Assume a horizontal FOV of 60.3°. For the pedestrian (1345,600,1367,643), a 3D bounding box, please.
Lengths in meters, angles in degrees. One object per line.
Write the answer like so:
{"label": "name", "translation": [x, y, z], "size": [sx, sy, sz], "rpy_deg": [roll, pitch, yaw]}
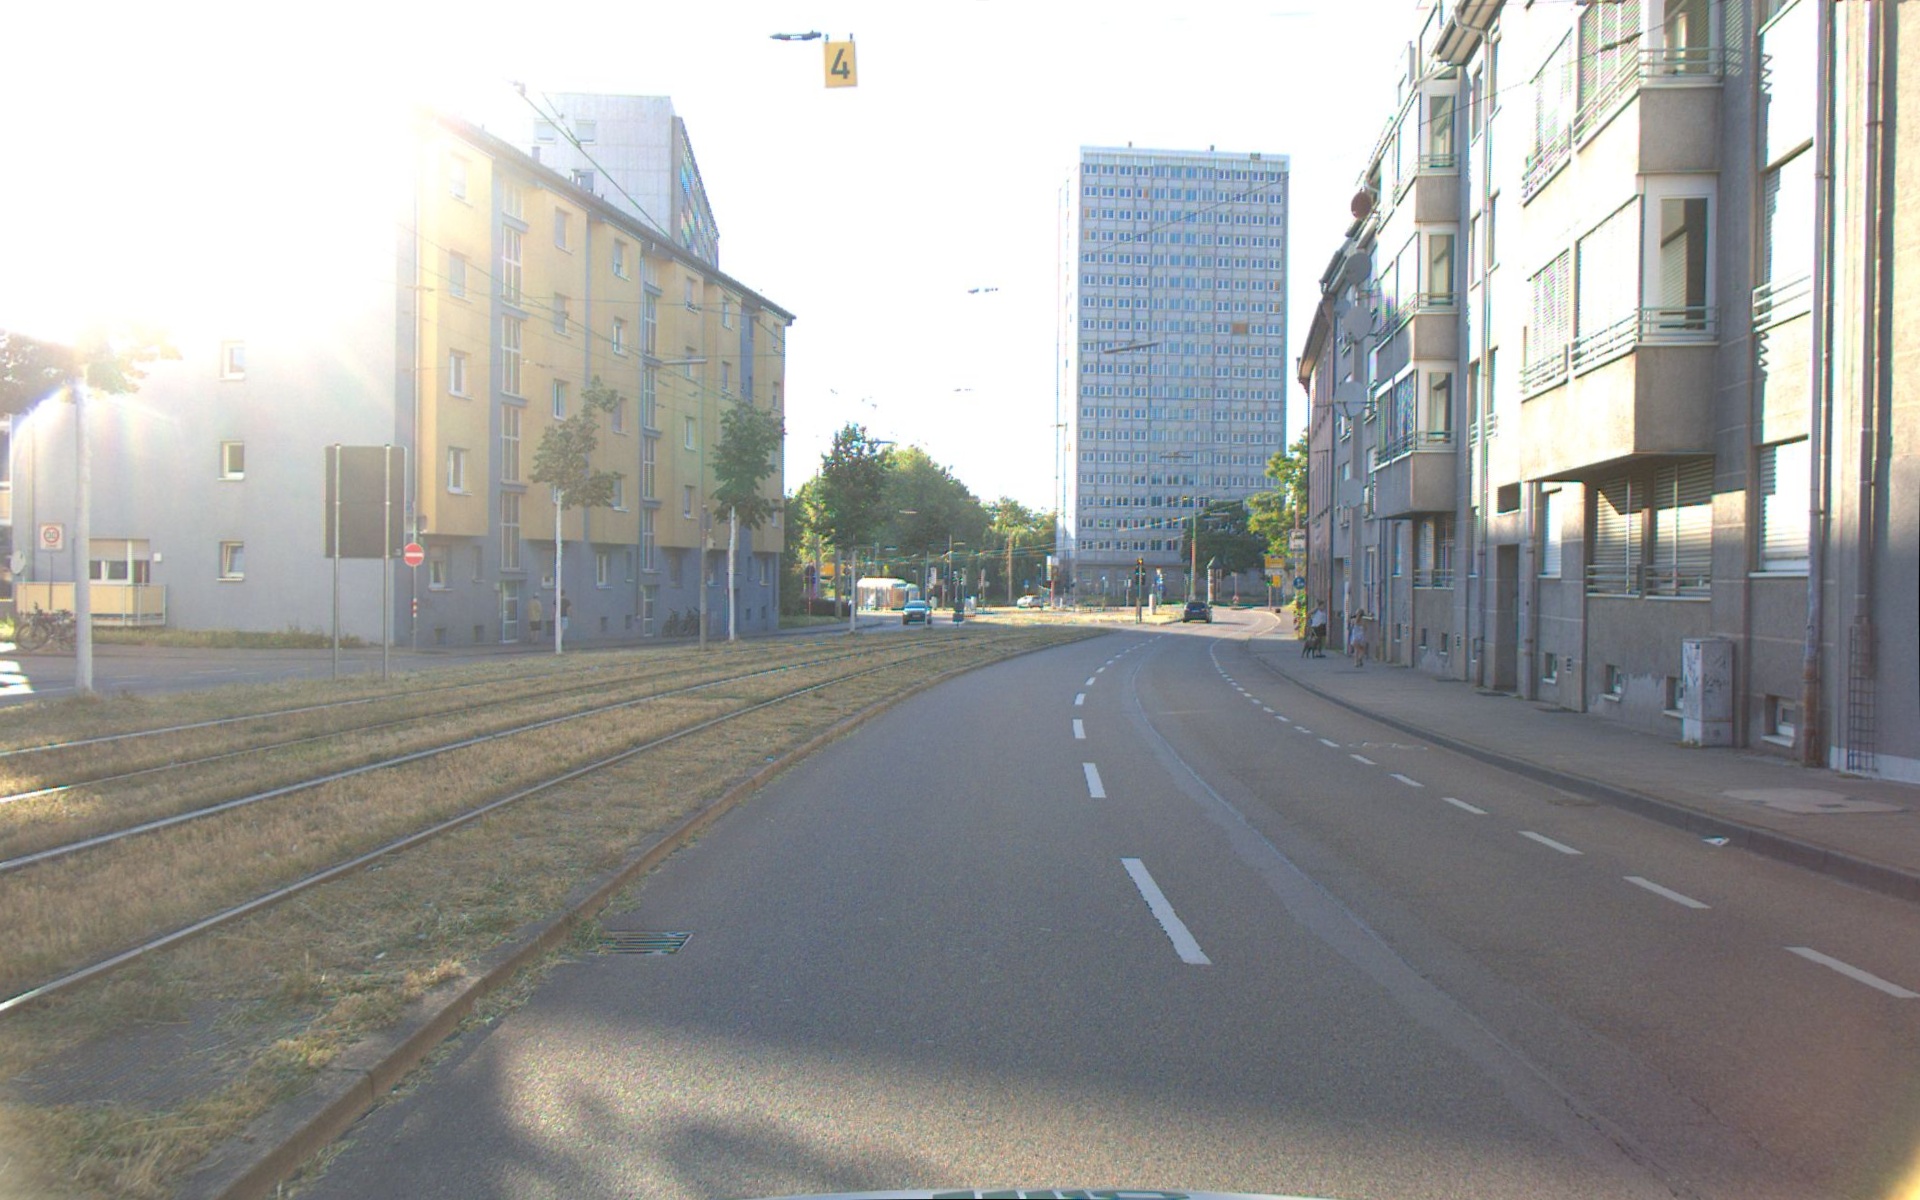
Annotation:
{"label": "pedestrian", "translation": [11.767, 0.632, 49.164], "size": [0.575, 1.273, 0.585], "rpy_deg": [0, 0, 8]}

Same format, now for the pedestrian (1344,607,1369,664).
{"label": "pedestrian", "translation": [9.656, 0.855, 40.294], "size": [0.503, 1.368, 0.609], "rpy_deg": [-1, -1, 4]}

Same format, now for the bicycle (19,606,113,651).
{"label": "bicycle", "translation": [-21.914, 0.696, 40.548], "size": [1.918, 1.094, 0.602], "rpy_deg": [0, 0, -9]}

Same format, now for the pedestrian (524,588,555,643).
{"label": "pedestrian", "translation": [-13.606, 0.507, 53.509], "size": [0.603, 1.723, 0.707], "rpy_deg": [5, 1, 8]}

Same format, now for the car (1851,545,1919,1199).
{"label": "car", "translation": [2.916, 0.729, 1.732], "size": [1.730, 1.615, 4.068], "rpy_deg": [0, 1, -1]}

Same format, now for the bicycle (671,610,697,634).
{"label": "bicycle", "translation": [-11.456, 0.916, 68.707], "size": [0.418, 0.941, 1.913], "rpy_deg": [4, 1, 10]}

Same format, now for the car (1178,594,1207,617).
{"label": "car", "translation": [15.445, 0.357, 109.743], "size": [1.734, 1.447, 3.859], "rpy_deg": [0, 1, 10]}

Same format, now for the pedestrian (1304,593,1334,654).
{"label": "pedestrian", "translation": [10.696, 0.685, 49.309], "size": [0.812, 1.802, 0.997], "rpy_deg": [0, 0, 8]}

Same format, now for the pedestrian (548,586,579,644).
{"label": "pedestrian", "translation": [-12.870, 0.485, 53.724], "size": [0.580, 1.803, 0.886], "rpy_deg": [5, 1, 8]}

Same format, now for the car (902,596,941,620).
{"label": "car", "translation": [-2.466, 0.530, 107.545], "size": [1.755, 1.495, 4.799], "rpy_deg": [-2, -1, 7]}

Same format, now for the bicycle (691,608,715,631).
{"label": "bicycle", "translation": [-11.059, 0.835, 71.131], "size": [0.418, 0.976, 1.913], "rpy_deg": [0, 0, 10]}

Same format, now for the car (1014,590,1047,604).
{"label": "car", "translation": [8.105, -0.385, 190.414], "size": [1.974, 1.557, 3.956], "rpy_deg": [0, 0, -32]}

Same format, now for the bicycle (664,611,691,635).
{"label": "bicycle", "translation": [-11.516, 0.922, 67.427], "size": [0.418, 0.941, 1.913], "rpy_deg": [4, 1, 10]}
